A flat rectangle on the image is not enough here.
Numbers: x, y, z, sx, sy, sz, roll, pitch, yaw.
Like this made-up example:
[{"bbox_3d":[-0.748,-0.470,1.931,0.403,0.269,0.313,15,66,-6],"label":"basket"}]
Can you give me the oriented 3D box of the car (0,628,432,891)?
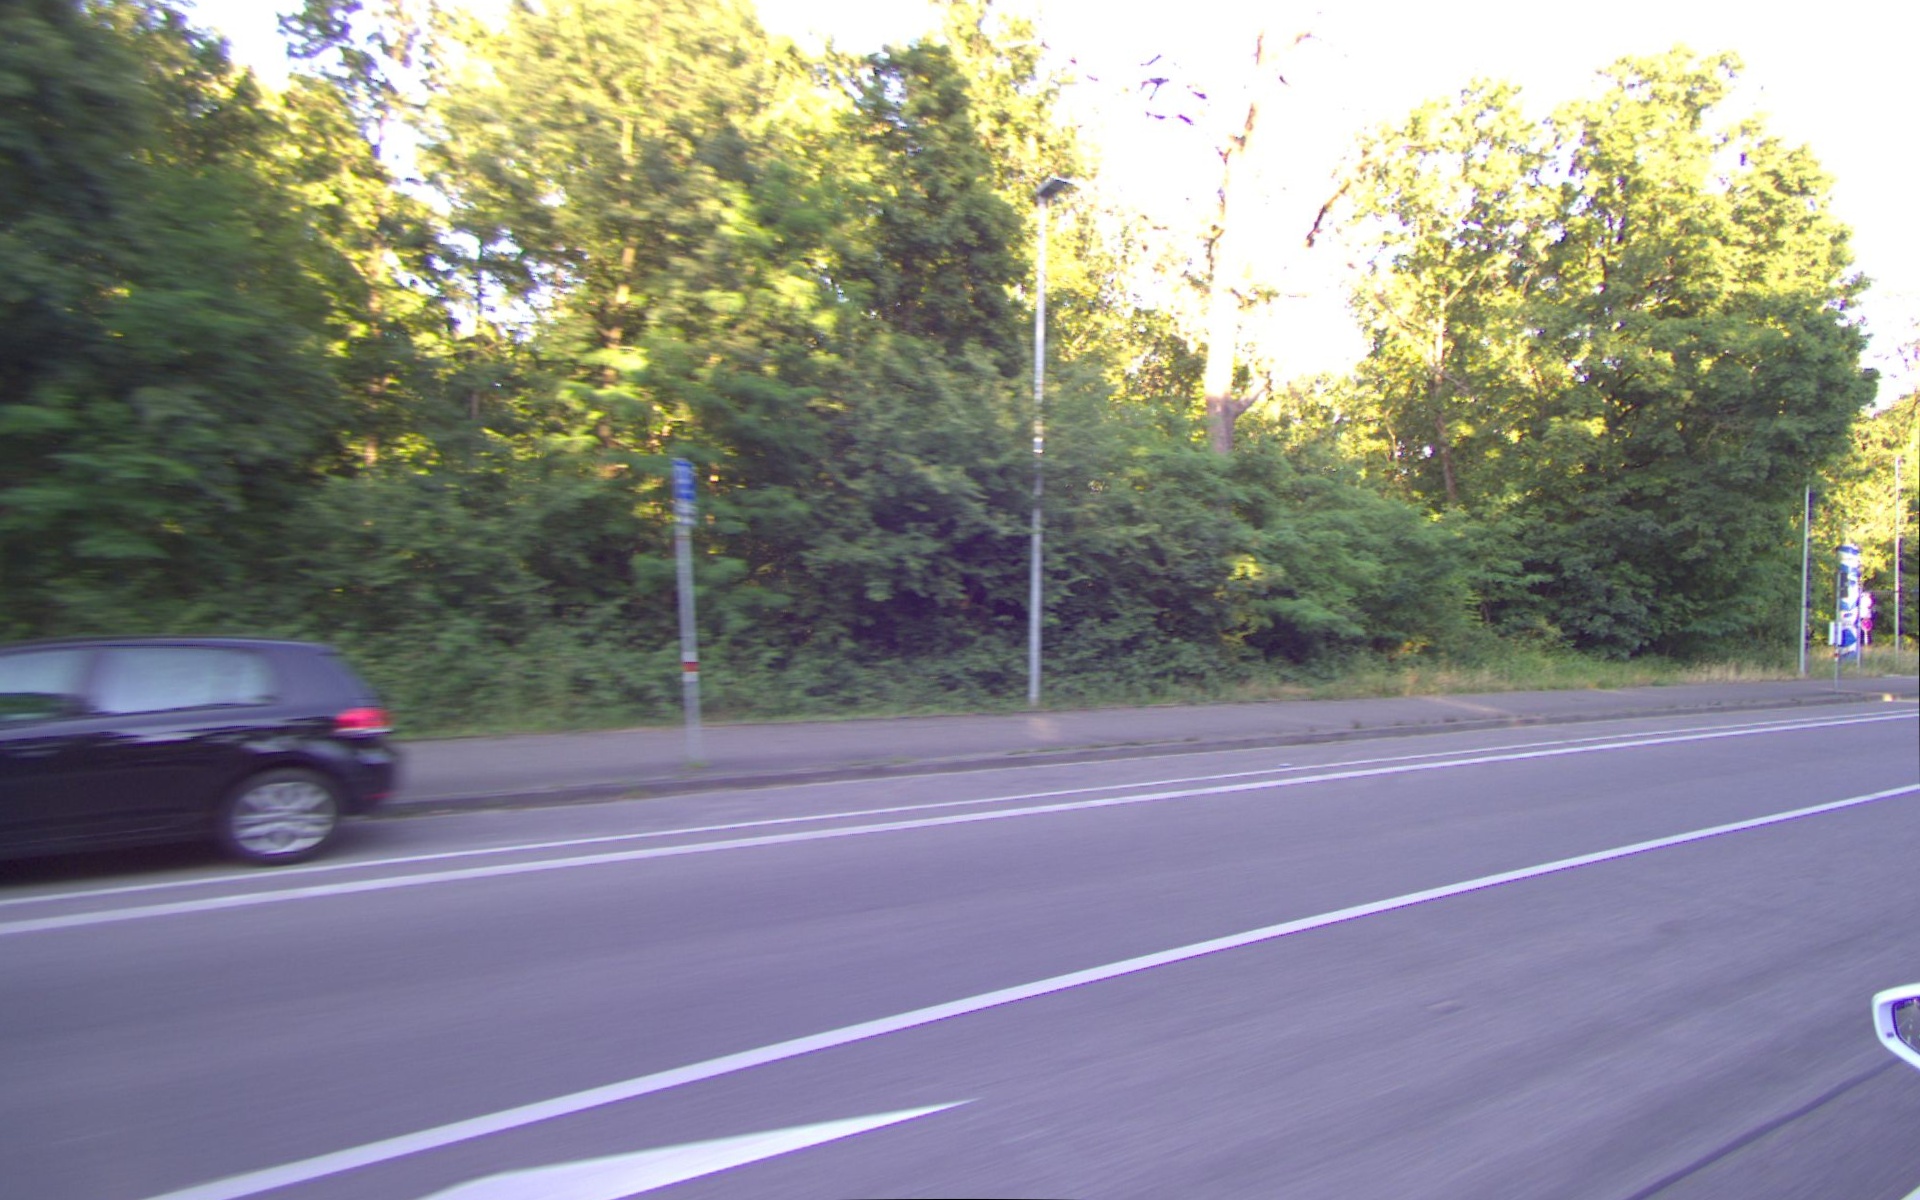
[{"bbox_3d":[-5.840,0.932,6.406,4.202,1.481,1.676,2,-3,-36],"label":"car"}]
